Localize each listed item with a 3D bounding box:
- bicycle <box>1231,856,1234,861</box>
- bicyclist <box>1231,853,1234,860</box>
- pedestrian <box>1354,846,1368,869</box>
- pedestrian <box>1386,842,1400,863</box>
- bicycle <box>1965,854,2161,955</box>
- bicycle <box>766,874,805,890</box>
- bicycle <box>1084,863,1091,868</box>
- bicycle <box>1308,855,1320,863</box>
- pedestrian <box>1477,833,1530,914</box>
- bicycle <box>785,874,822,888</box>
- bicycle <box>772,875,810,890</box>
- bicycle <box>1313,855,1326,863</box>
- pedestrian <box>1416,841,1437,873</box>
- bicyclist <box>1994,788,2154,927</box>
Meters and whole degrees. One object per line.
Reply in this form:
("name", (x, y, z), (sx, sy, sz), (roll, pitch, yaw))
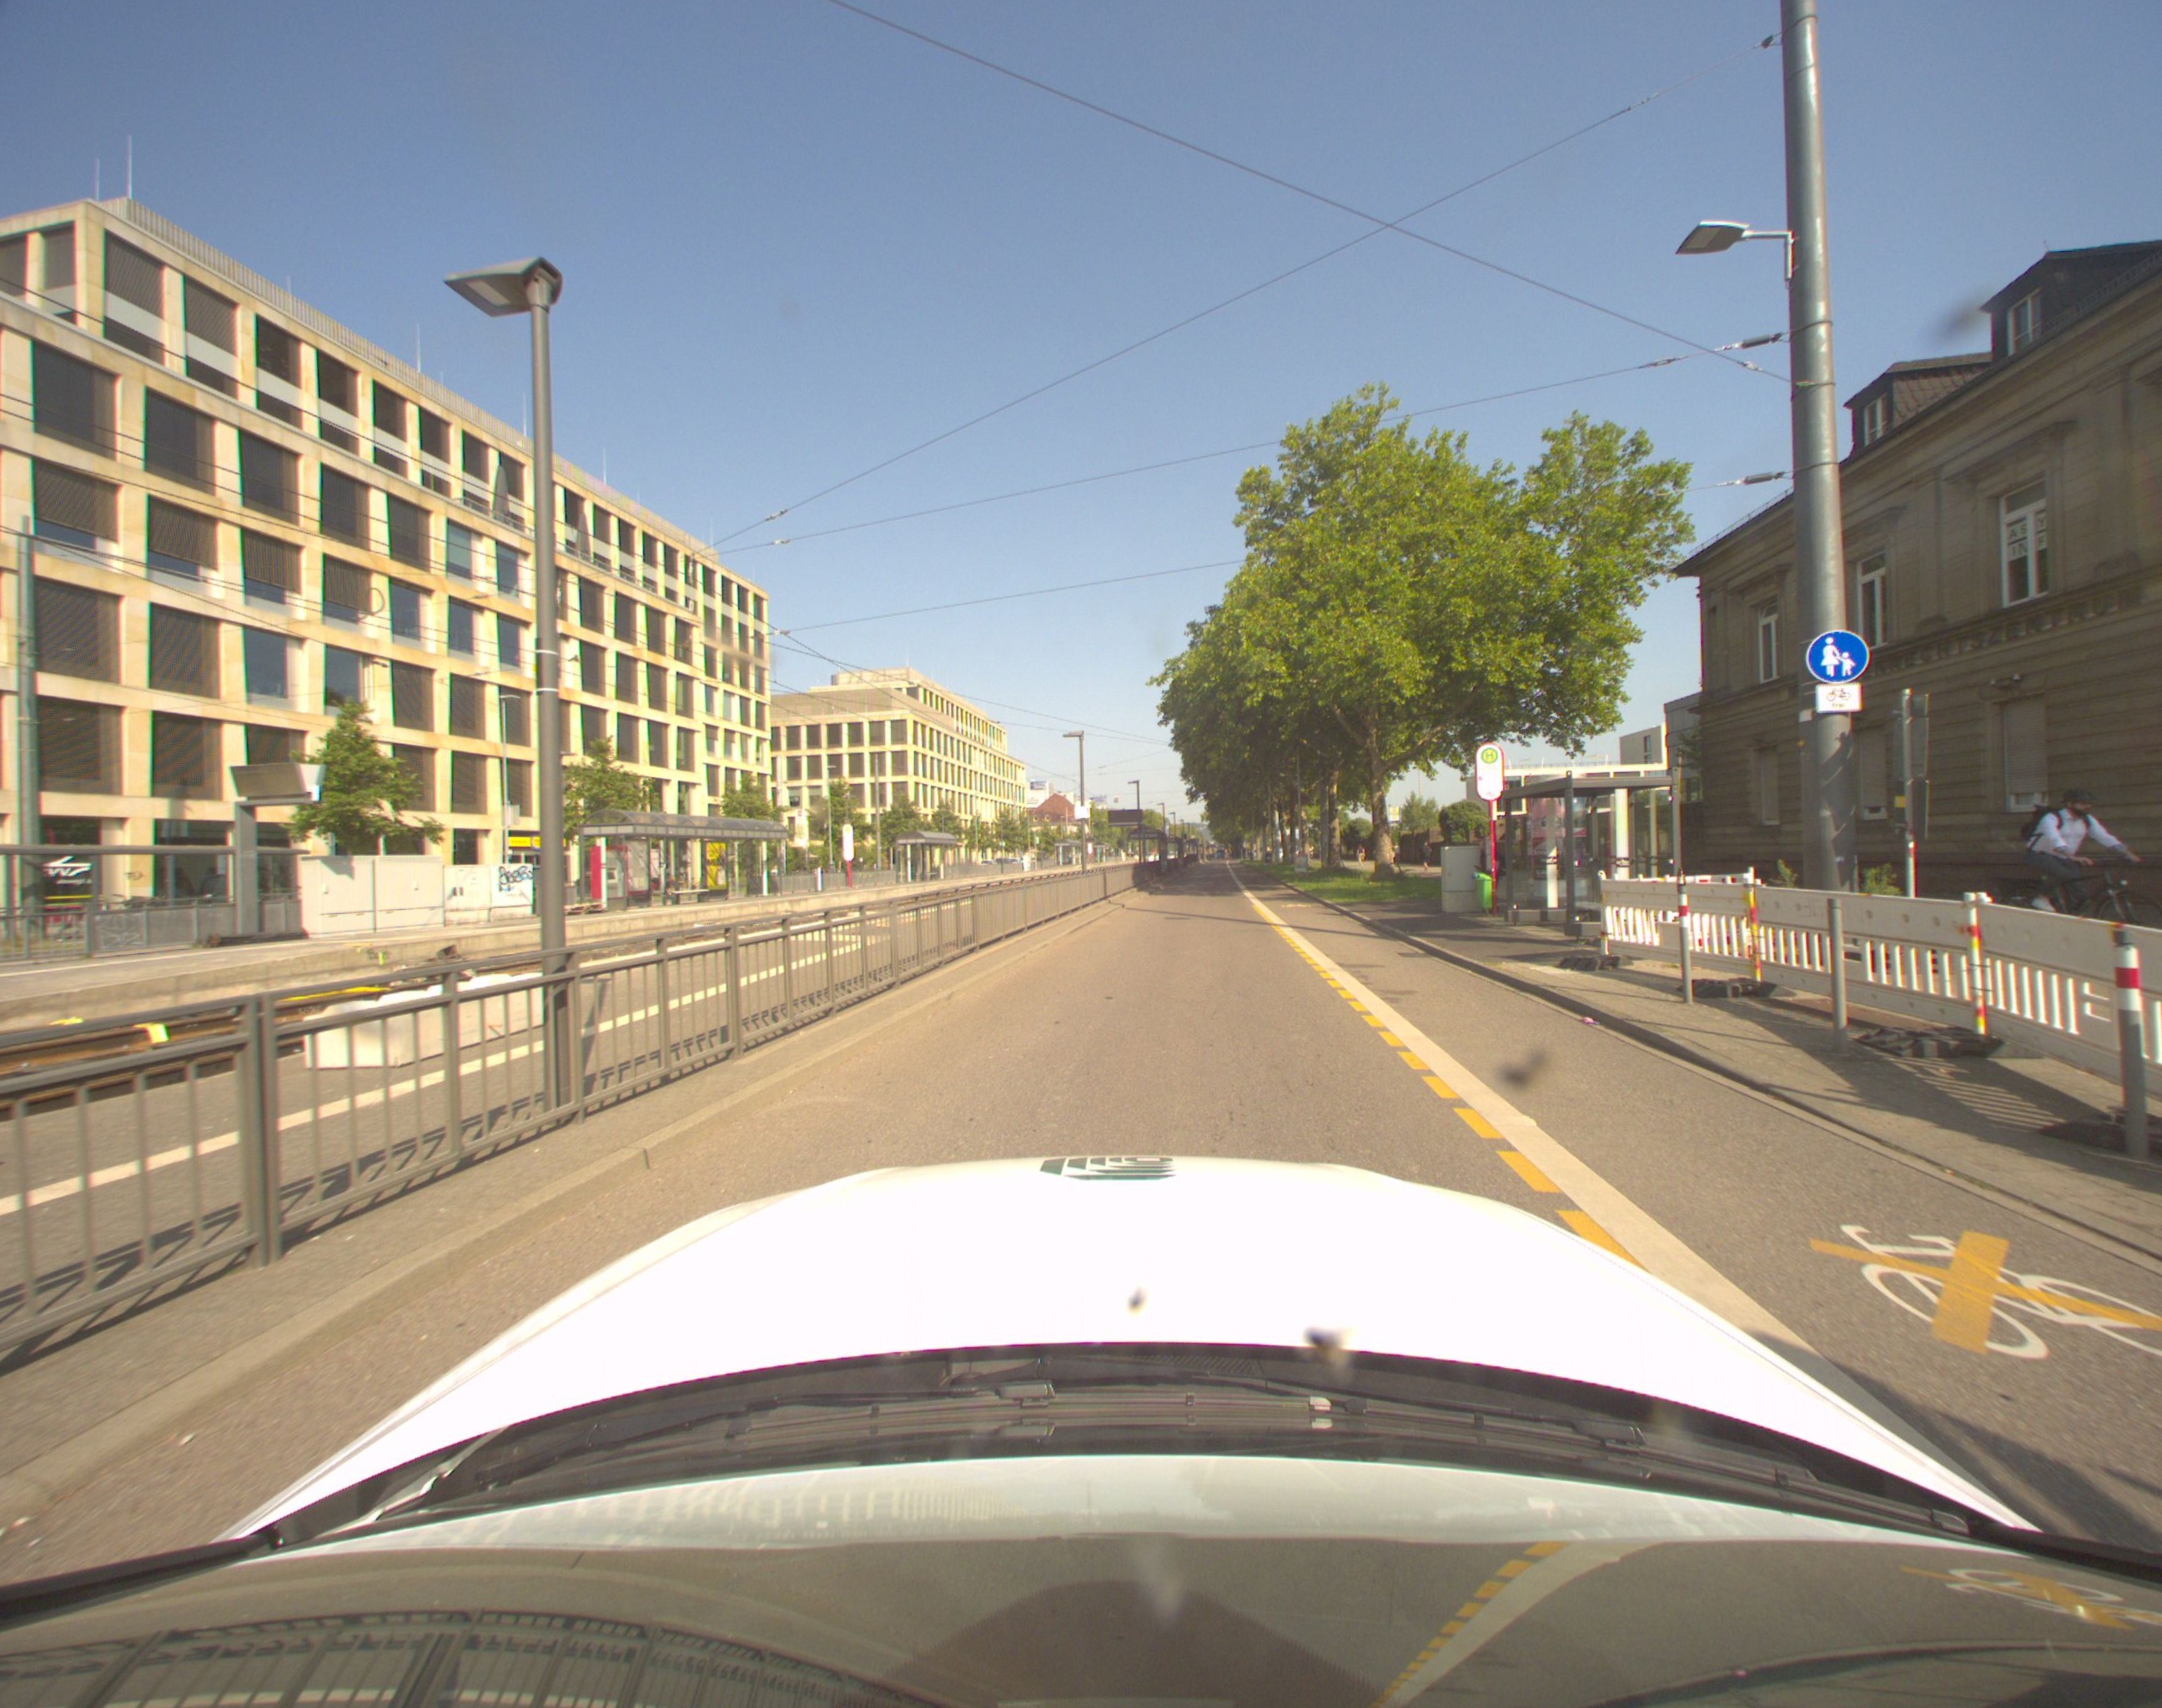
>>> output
("bicycle", (32.322, 1.021, 173.728), (0.710, 1.107, 2.516), (-1, -1, 10))
("bicyclist", (32.312, 0.611, 173.772), (0.701, 1.461, 1.012), (-1, -1, 10))
("pedestrian", (21.221, 0.261, 61.763), (0.801, 1.636, 0.950), (-4, -1, 10))
("pedestrian", (24.808, -0.100, 64.815), (0.801, 1.604, 0.950), (-4, -1, 10))
("bicycle", (11.740, 0.537, 9.600), (0.713, 1.042, 1.907), (-2, 0, 7))
("bicycle", (-20.812, 1.988, 57.434), (2.419, 0.986, 0.823), (-2, -1, 8))
("bicycle", (0.837, 1.578, 108.770), (0.473, 0.662, 1.619), (-2, -1, 14))
("bicycle", (31.809, 0.717, 111.071), (0.508, 0.969, 1.645), (-3, -1, -31))
("pedestrian", (9.088, 0.410, 17.533), (0.688, 1.697, 0.646), (-2, -1, -12))
("bicycle", (-20.455, 1.983, 59.990), (2.419, 0.986, 0.823), (-2, -1, 8))
("bicycle", (-20.811, 2.052, 58.406), (2.419, 0.986, 0.823), (-2, -1, 8))
("bicycle", (31.768, 0.683, 108.429), (1.644, 0.969, 0.508), (-4, -1, 15))
("pedestrian", (18.993, 0.163, 44.777), (0.814, 1.686, 1.015), (-3, -1, 10))
("bicyclist", (11.732, 0.038, 9.665), (0.713, 1.543, 0.958), (-2, 0, 7))
